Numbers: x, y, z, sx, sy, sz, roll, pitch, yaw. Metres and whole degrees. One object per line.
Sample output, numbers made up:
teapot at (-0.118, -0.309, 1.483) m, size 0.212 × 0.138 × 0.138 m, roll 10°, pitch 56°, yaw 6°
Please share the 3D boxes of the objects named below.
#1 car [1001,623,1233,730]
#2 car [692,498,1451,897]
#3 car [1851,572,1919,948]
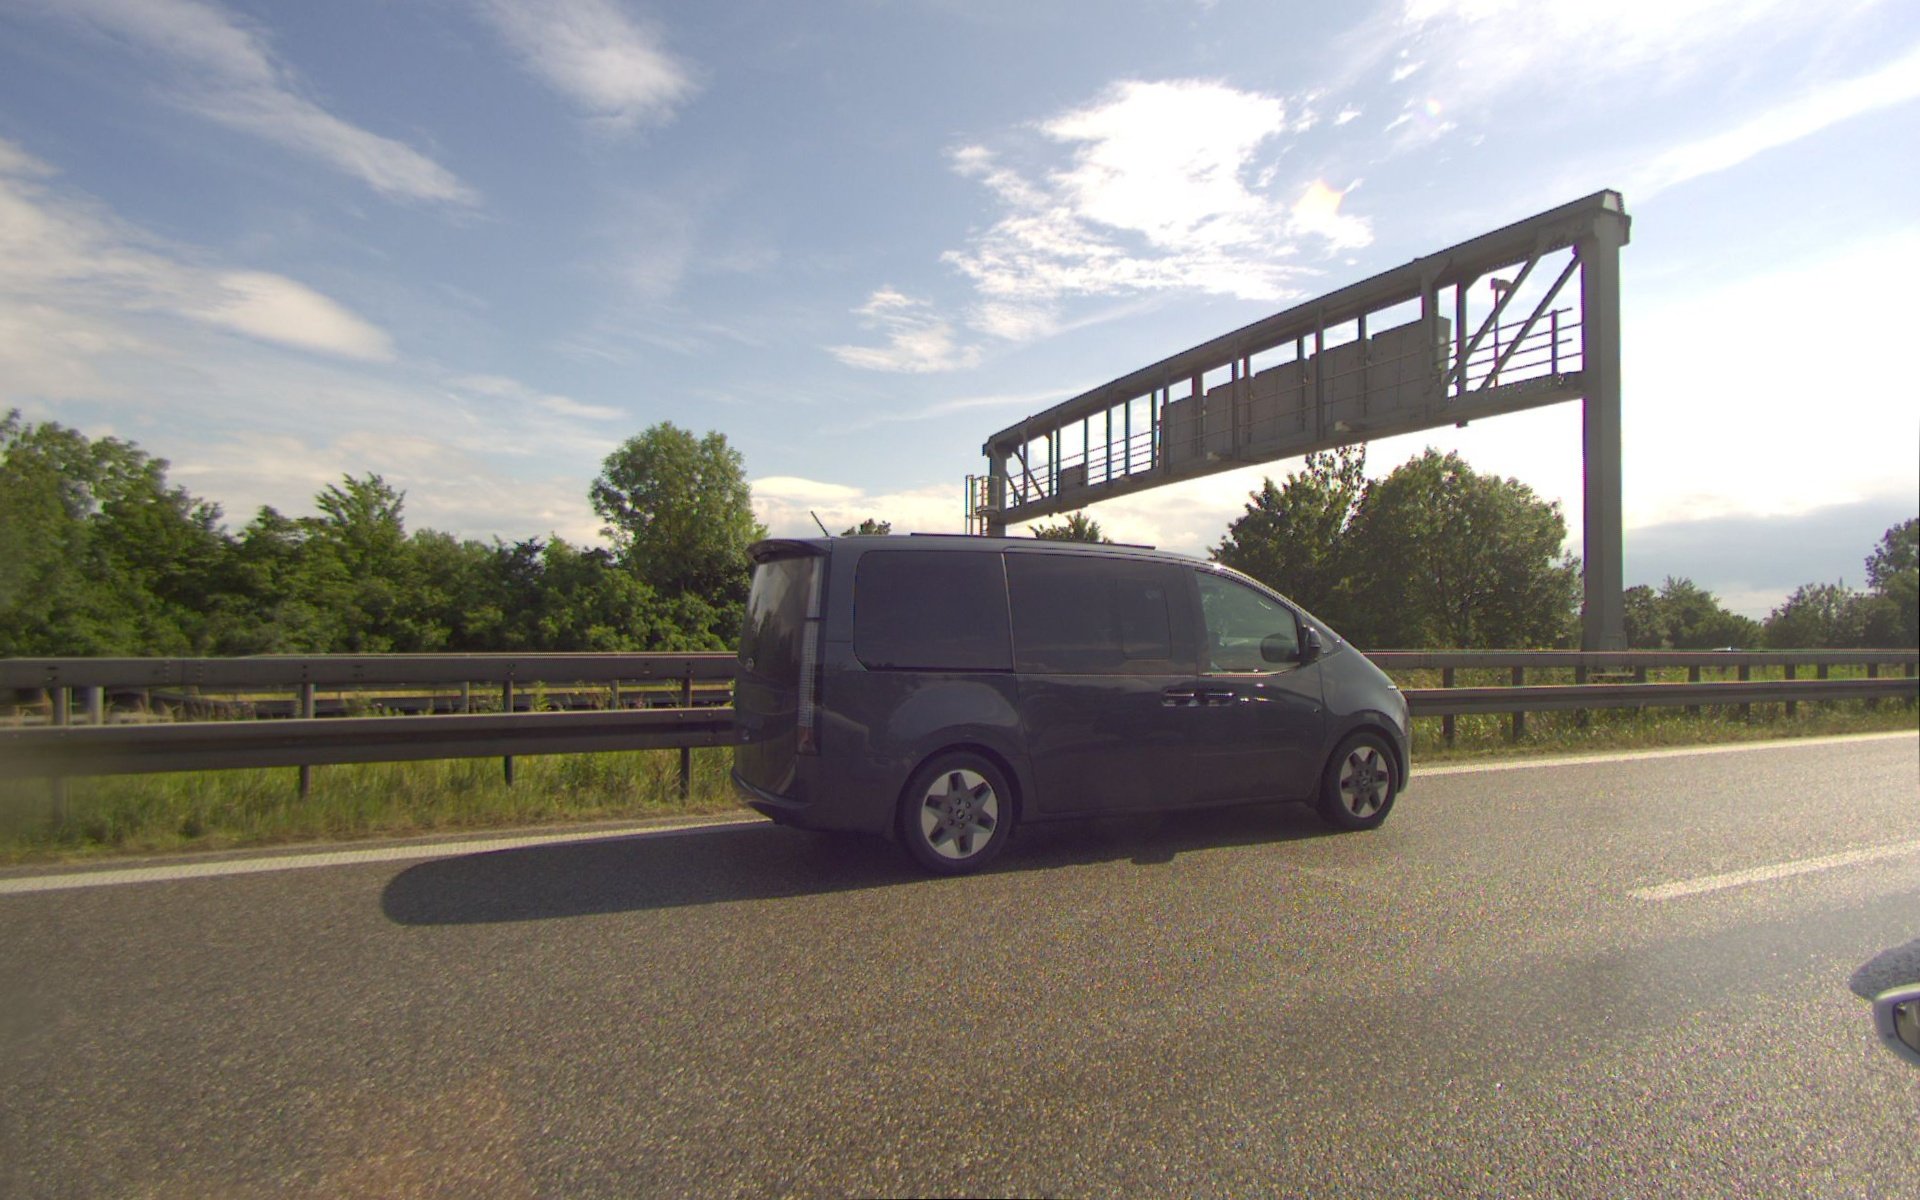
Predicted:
car at (3.348, 1.528, 21.293) m, size 4.593 × 2.040 × 1.986 m, roll 1°, pitch -1°, yaw -27°
car at (0.912, 0.557, 7.212) m, size 5.201 × 2.040 × 1.987 m, roll 1°, pitch -1°, yaw -27°
car at (6.572, 0.760, 4.782) m, size 4.347 × 1.683 × 1.987 m, roll 1°, pitch -1°, yaw -26°
